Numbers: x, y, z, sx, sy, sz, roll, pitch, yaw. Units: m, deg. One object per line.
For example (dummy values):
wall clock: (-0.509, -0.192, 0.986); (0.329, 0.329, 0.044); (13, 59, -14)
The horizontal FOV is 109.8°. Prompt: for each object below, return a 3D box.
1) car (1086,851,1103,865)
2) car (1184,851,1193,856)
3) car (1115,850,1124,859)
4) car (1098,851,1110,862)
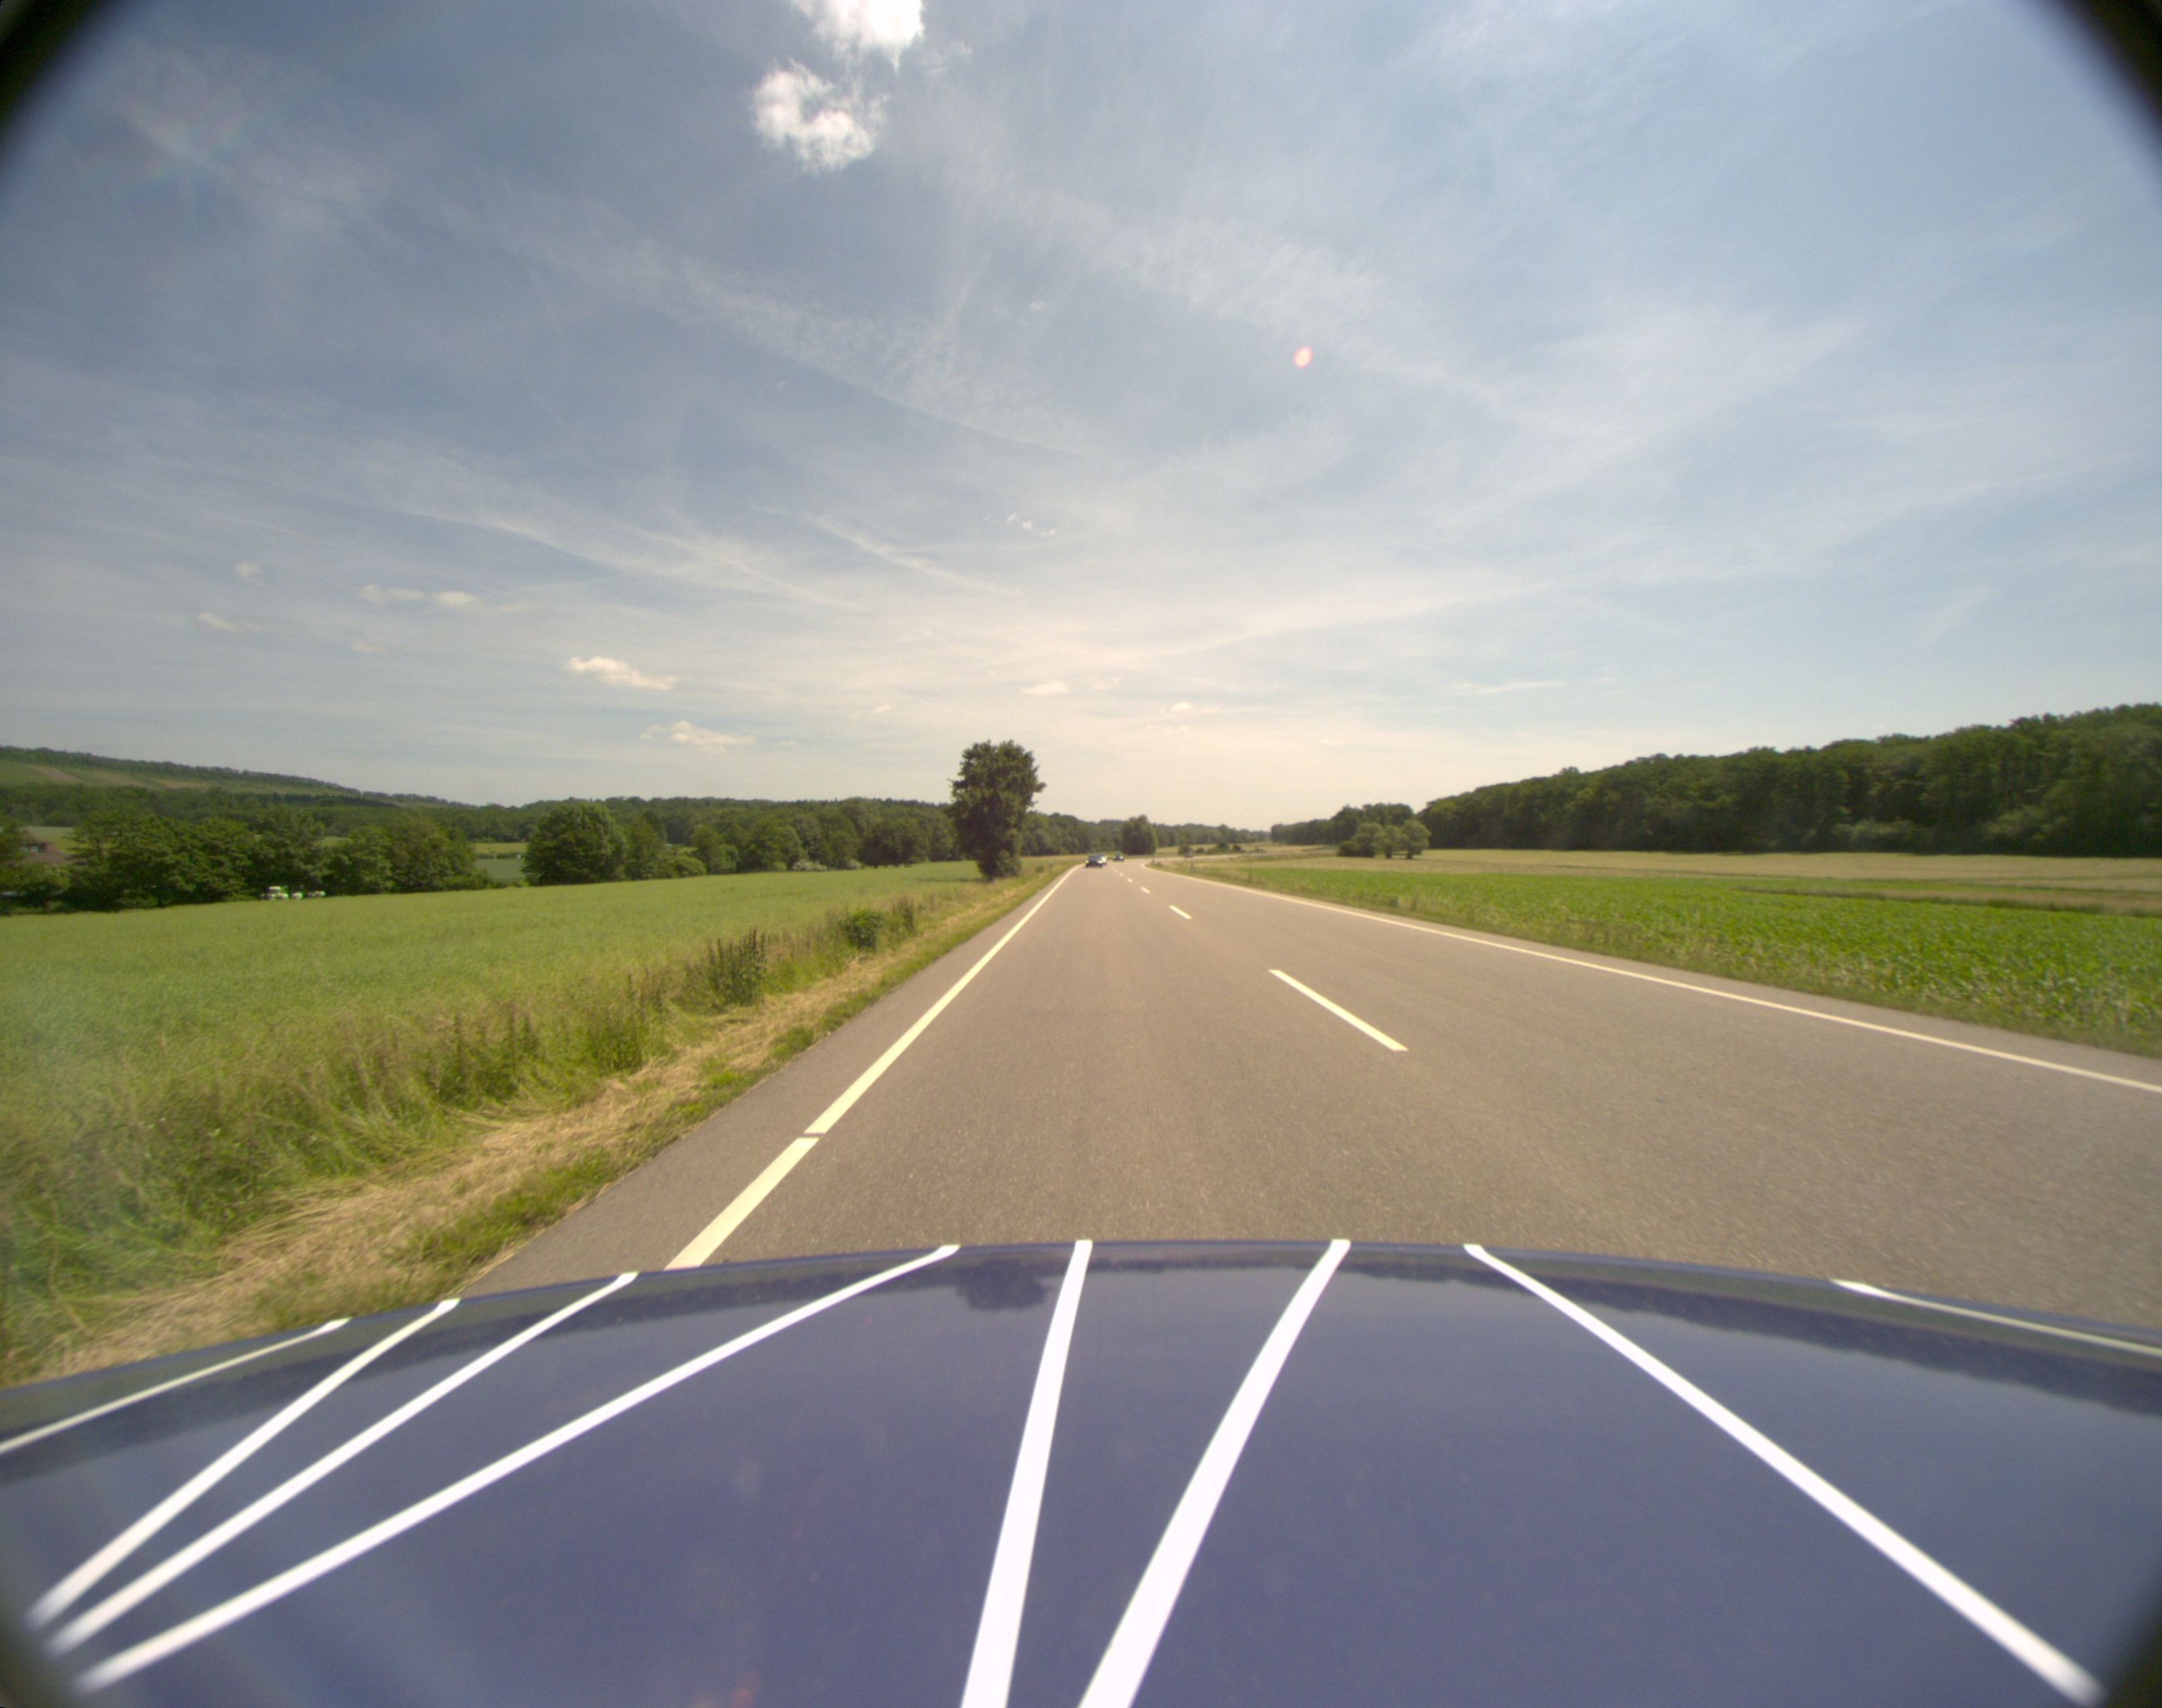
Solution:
car: (1.477, 0.412, 79.430); (1.621, 1.428, 3.443); (1, 1, 3)
car: (31.419, -0.256, 221.560); (1.618, 1.428, 3.449); (0, 0, 28)
car: (7.035, 0.064, 139.941); (1.621, 1.429, 3.442); (1, 2, 1)
car: (3.025, 0.316, 100.972); (1.621, 1.428, 3.443); (1, 0, 1)
